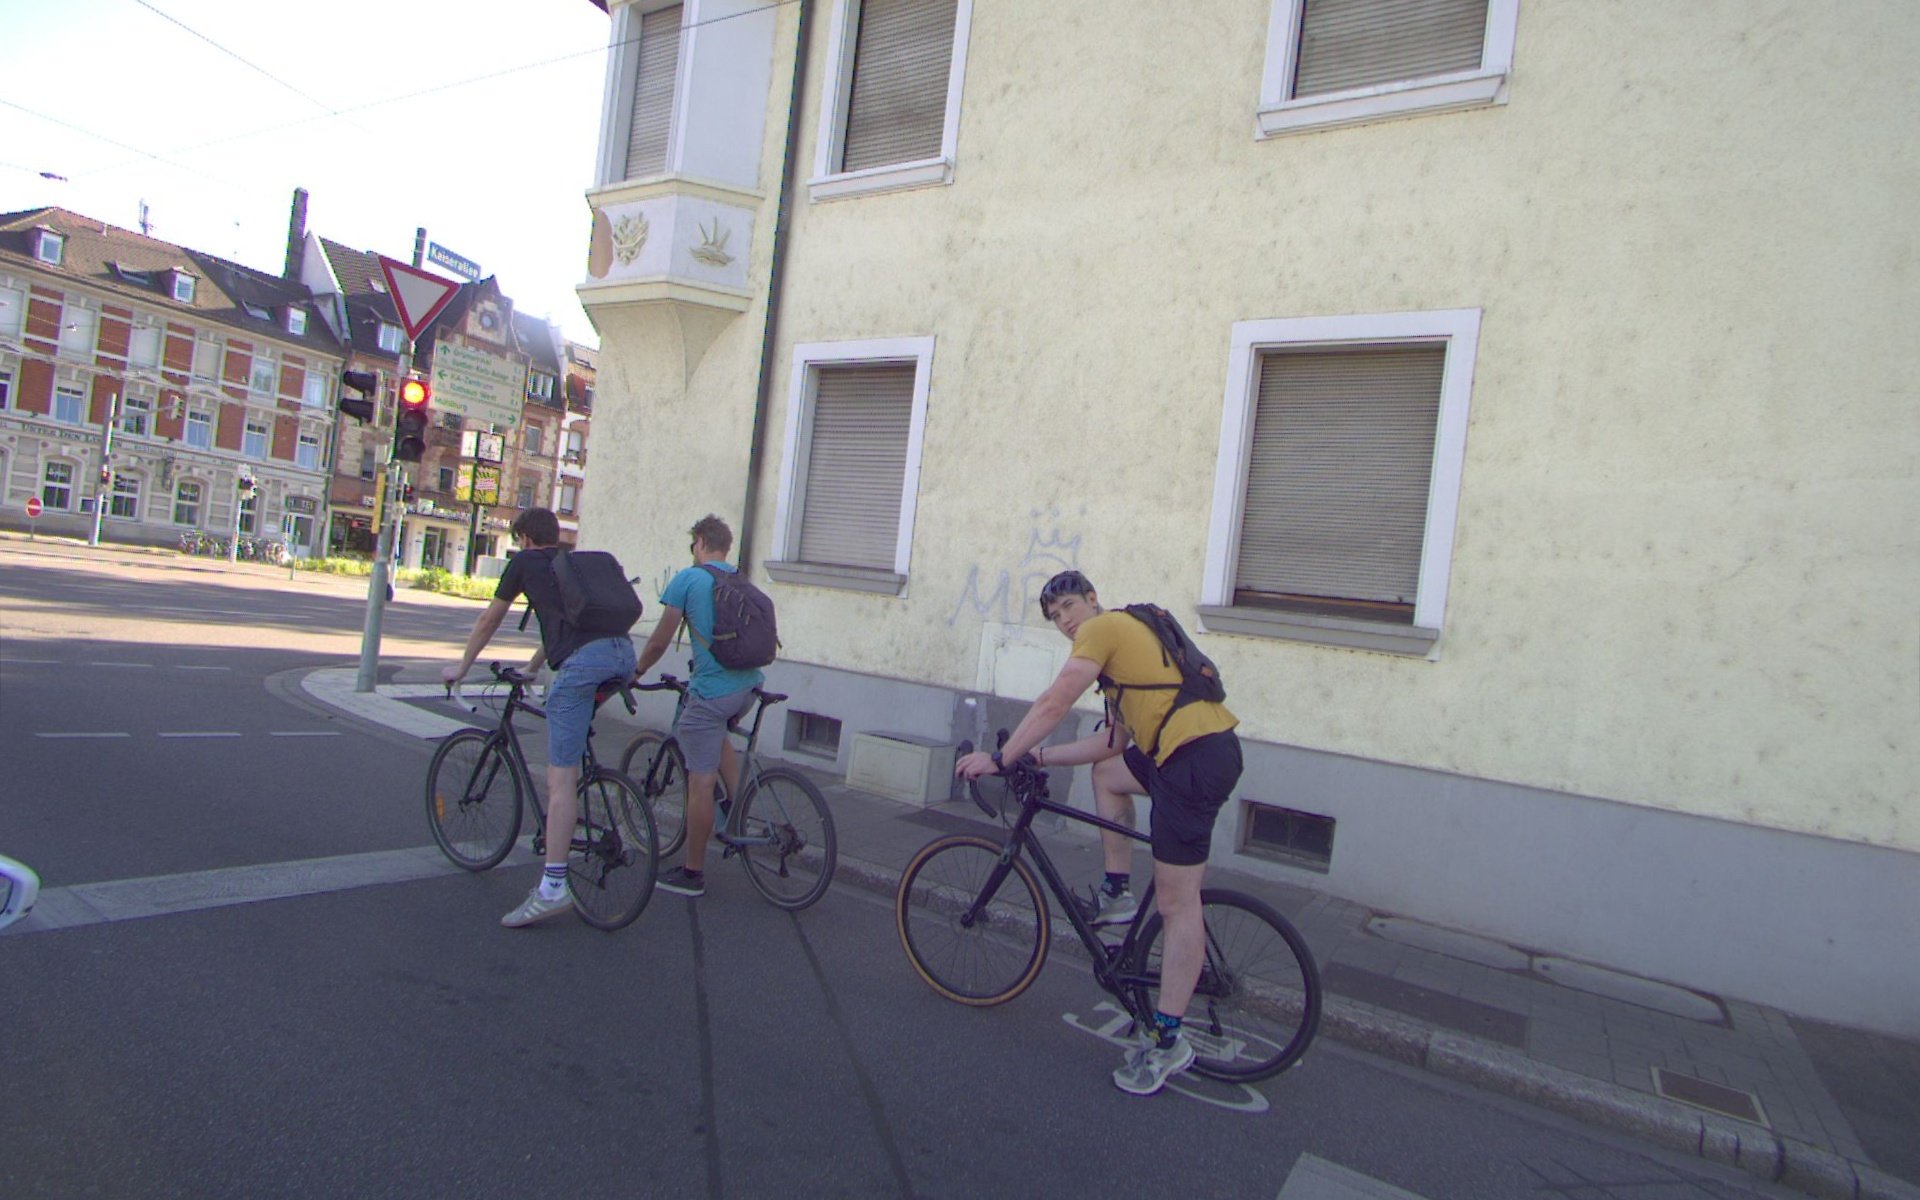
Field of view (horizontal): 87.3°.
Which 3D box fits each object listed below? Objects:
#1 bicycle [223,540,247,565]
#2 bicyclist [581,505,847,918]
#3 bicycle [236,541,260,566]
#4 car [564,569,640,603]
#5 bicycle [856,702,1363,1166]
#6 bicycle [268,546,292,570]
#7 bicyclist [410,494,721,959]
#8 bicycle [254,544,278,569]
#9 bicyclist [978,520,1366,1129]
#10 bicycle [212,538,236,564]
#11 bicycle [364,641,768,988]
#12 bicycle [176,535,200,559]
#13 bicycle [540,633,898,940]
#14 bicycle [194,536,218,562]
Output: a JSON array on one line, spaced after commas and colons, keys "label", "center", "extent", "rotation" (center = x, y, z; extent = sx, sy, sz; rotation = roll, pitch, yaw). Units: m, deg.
[{"label": "bicycle", "center": [-34.003, -2.243, 47.170], "extent": [1.759, 1.033, 0.485], "rotation": [7, 0, 42]}, {"label": "bicyclist", "center": [-1.287, 0.529, 5.270], "extent": [0.978, 1.910, 0.652], "rotation": [7, 0, 32]}, {"label": "bicycle", "center": [-33.675, -2.184, 47.562], "extent": [1.759, 1.033, 0.485], "rotation": [7, 0, 42]}, {"label": "car", "center": [-23.206, -0.877, 65.302], "extent": [1.966, 1.641, 4.261], "rotation": [7, -1, 29]}, {"label": "bicycle", "center": [0.512, 1.095, 3.772], "extent": [1.670, 1.180, 0.571], "rotation": [7, 0, 32]}, {"label": "bicycle", "center": [-33.093, -2.051, 48.978], "extent": [1.759, 1.033, 0.485], "rotation": [7, 0, 42]}, {"label": "bicyclist", "center": [-1.751, 0.497, 4.469], "extent": [0.978, 1.788, 0.652], "rotation": [7, 0, 32]}, {"label": "bicycle", "center": [-33.312, -2.107, 48.290], "extent": [1.759, 1.033, 0.485], "rotation": [7, 0, 42]}, {"label": "bicyclist", "center": [0.771, 0.701, 3.656], "extent": [1.019, 1.839, 0.652], "rotation": [7, 0, 32]}, {"label": "bicycle", "center": [-34.190, -2.285, 46.747], "extent": [1.759, 1.033, 0.485], "rotation": [7, 0, 42]}, {"label": "bicycle", "center": [-1.800, 0.840, 4.467], "extent": [1.858, 1.071, 0.571], "rotation": [7, 0, 32]}, {"label": "bicycle", "center": [-35.066, -2.407, 45.664], "extent": [1.759, 0.925, 0.485], "rotation": [7, 0, 42]}, {"label": "bicycle", "center": [-1.310, 0.882, 5.280], "extent": [1.858, 1.180, 0.571], "rotation": [7, 0, 32]}, {"label": "bicycle", "center": [-34.641, -2.334, 46.201], "extent": [1.759, 1.033, 0.485], "rotation": [7, 0, 42]}]
